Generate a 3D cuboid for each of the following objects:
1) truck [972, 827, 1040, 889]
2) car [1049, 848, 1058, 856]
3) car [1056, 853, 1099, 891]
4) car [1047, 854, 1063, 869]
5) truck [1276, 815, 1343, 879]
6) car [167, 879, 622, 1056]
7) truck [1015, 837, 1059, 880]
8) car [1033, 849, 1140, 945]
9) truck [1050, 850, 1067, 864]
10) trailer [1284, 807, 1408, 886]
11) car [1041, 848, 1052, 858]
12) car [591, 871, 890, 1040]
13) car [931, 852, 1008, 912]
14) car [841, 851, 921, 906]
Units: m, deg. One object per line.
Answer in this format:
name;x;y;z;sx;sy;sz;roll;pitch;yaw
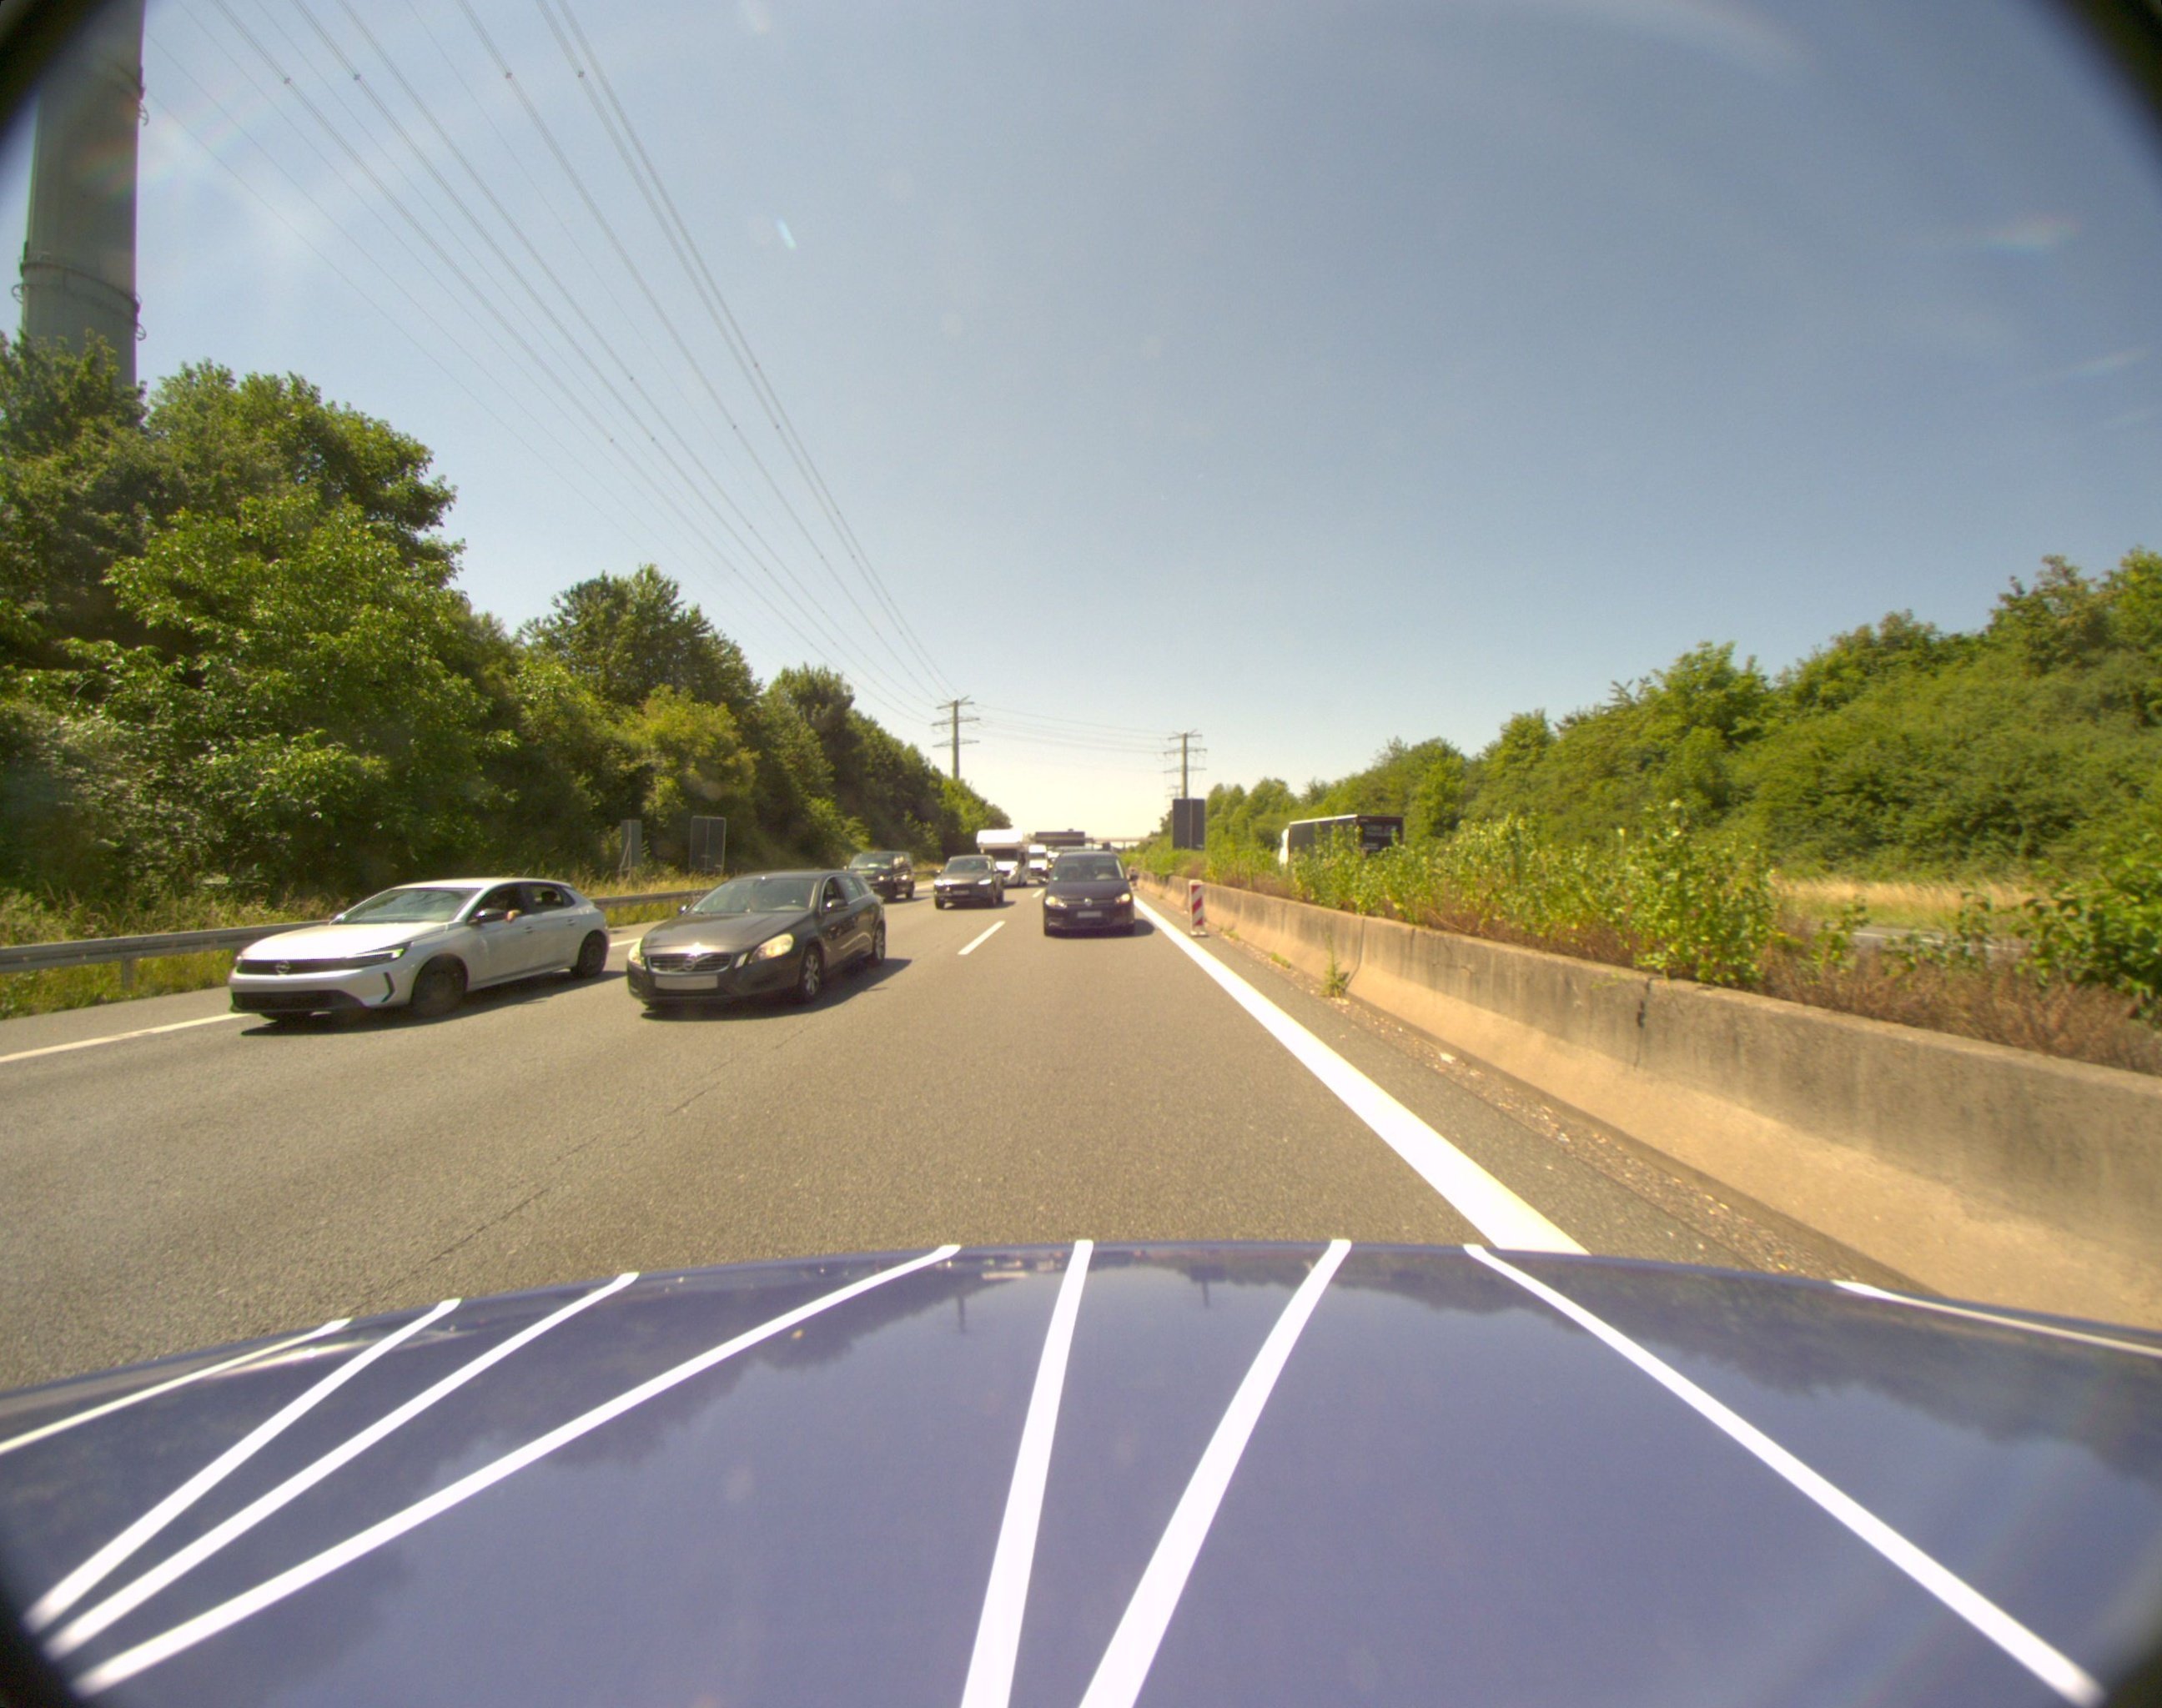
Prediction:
truck;-4.045;0.146;43.046;2.514;2.997;9.897;-2;1;1
car;-7.432;-0.528;204.099;1.998;2.002;4.000;-2;1;1
car;-0.207;0.823;37.169;1.892;1.693;4.382;-2;1;-1
car;-3.207;0.942;94.302;1.892;1.693;4.382;-2;1;-1
truck;16.145;-0.494;54.146;2.758;4.143;6.410;2;1;0
car;-7.665;1.130;9.148;1.745;1.461;4.014;-2;0;1
truck;-3.280;0.266;59.454;2.514;2.997;9.897;-2;1;1
car;0.063;0.765;16.028;1.892;1.693;4.382;-2;1;-1
truck;-3.669;0.506;126.883;2.409;2.203;6.744;-2;1;1
trailer;16.097;-0.438;47.768;2.760;4.143;14.195;2;0;0
car;-7.749;-0.264;171.076;1.998;2.002;4.000;-2;1;1
car;-3.795;1.026;9.407;1.801;1.429;4.230;-2;1;-1
car;-3.550;0.836;24.978;1.892;1.693;4.382;-2;1;-1
car;-7.663;0.862;29.631;1.788;1.893;4.697;-2;1;0
